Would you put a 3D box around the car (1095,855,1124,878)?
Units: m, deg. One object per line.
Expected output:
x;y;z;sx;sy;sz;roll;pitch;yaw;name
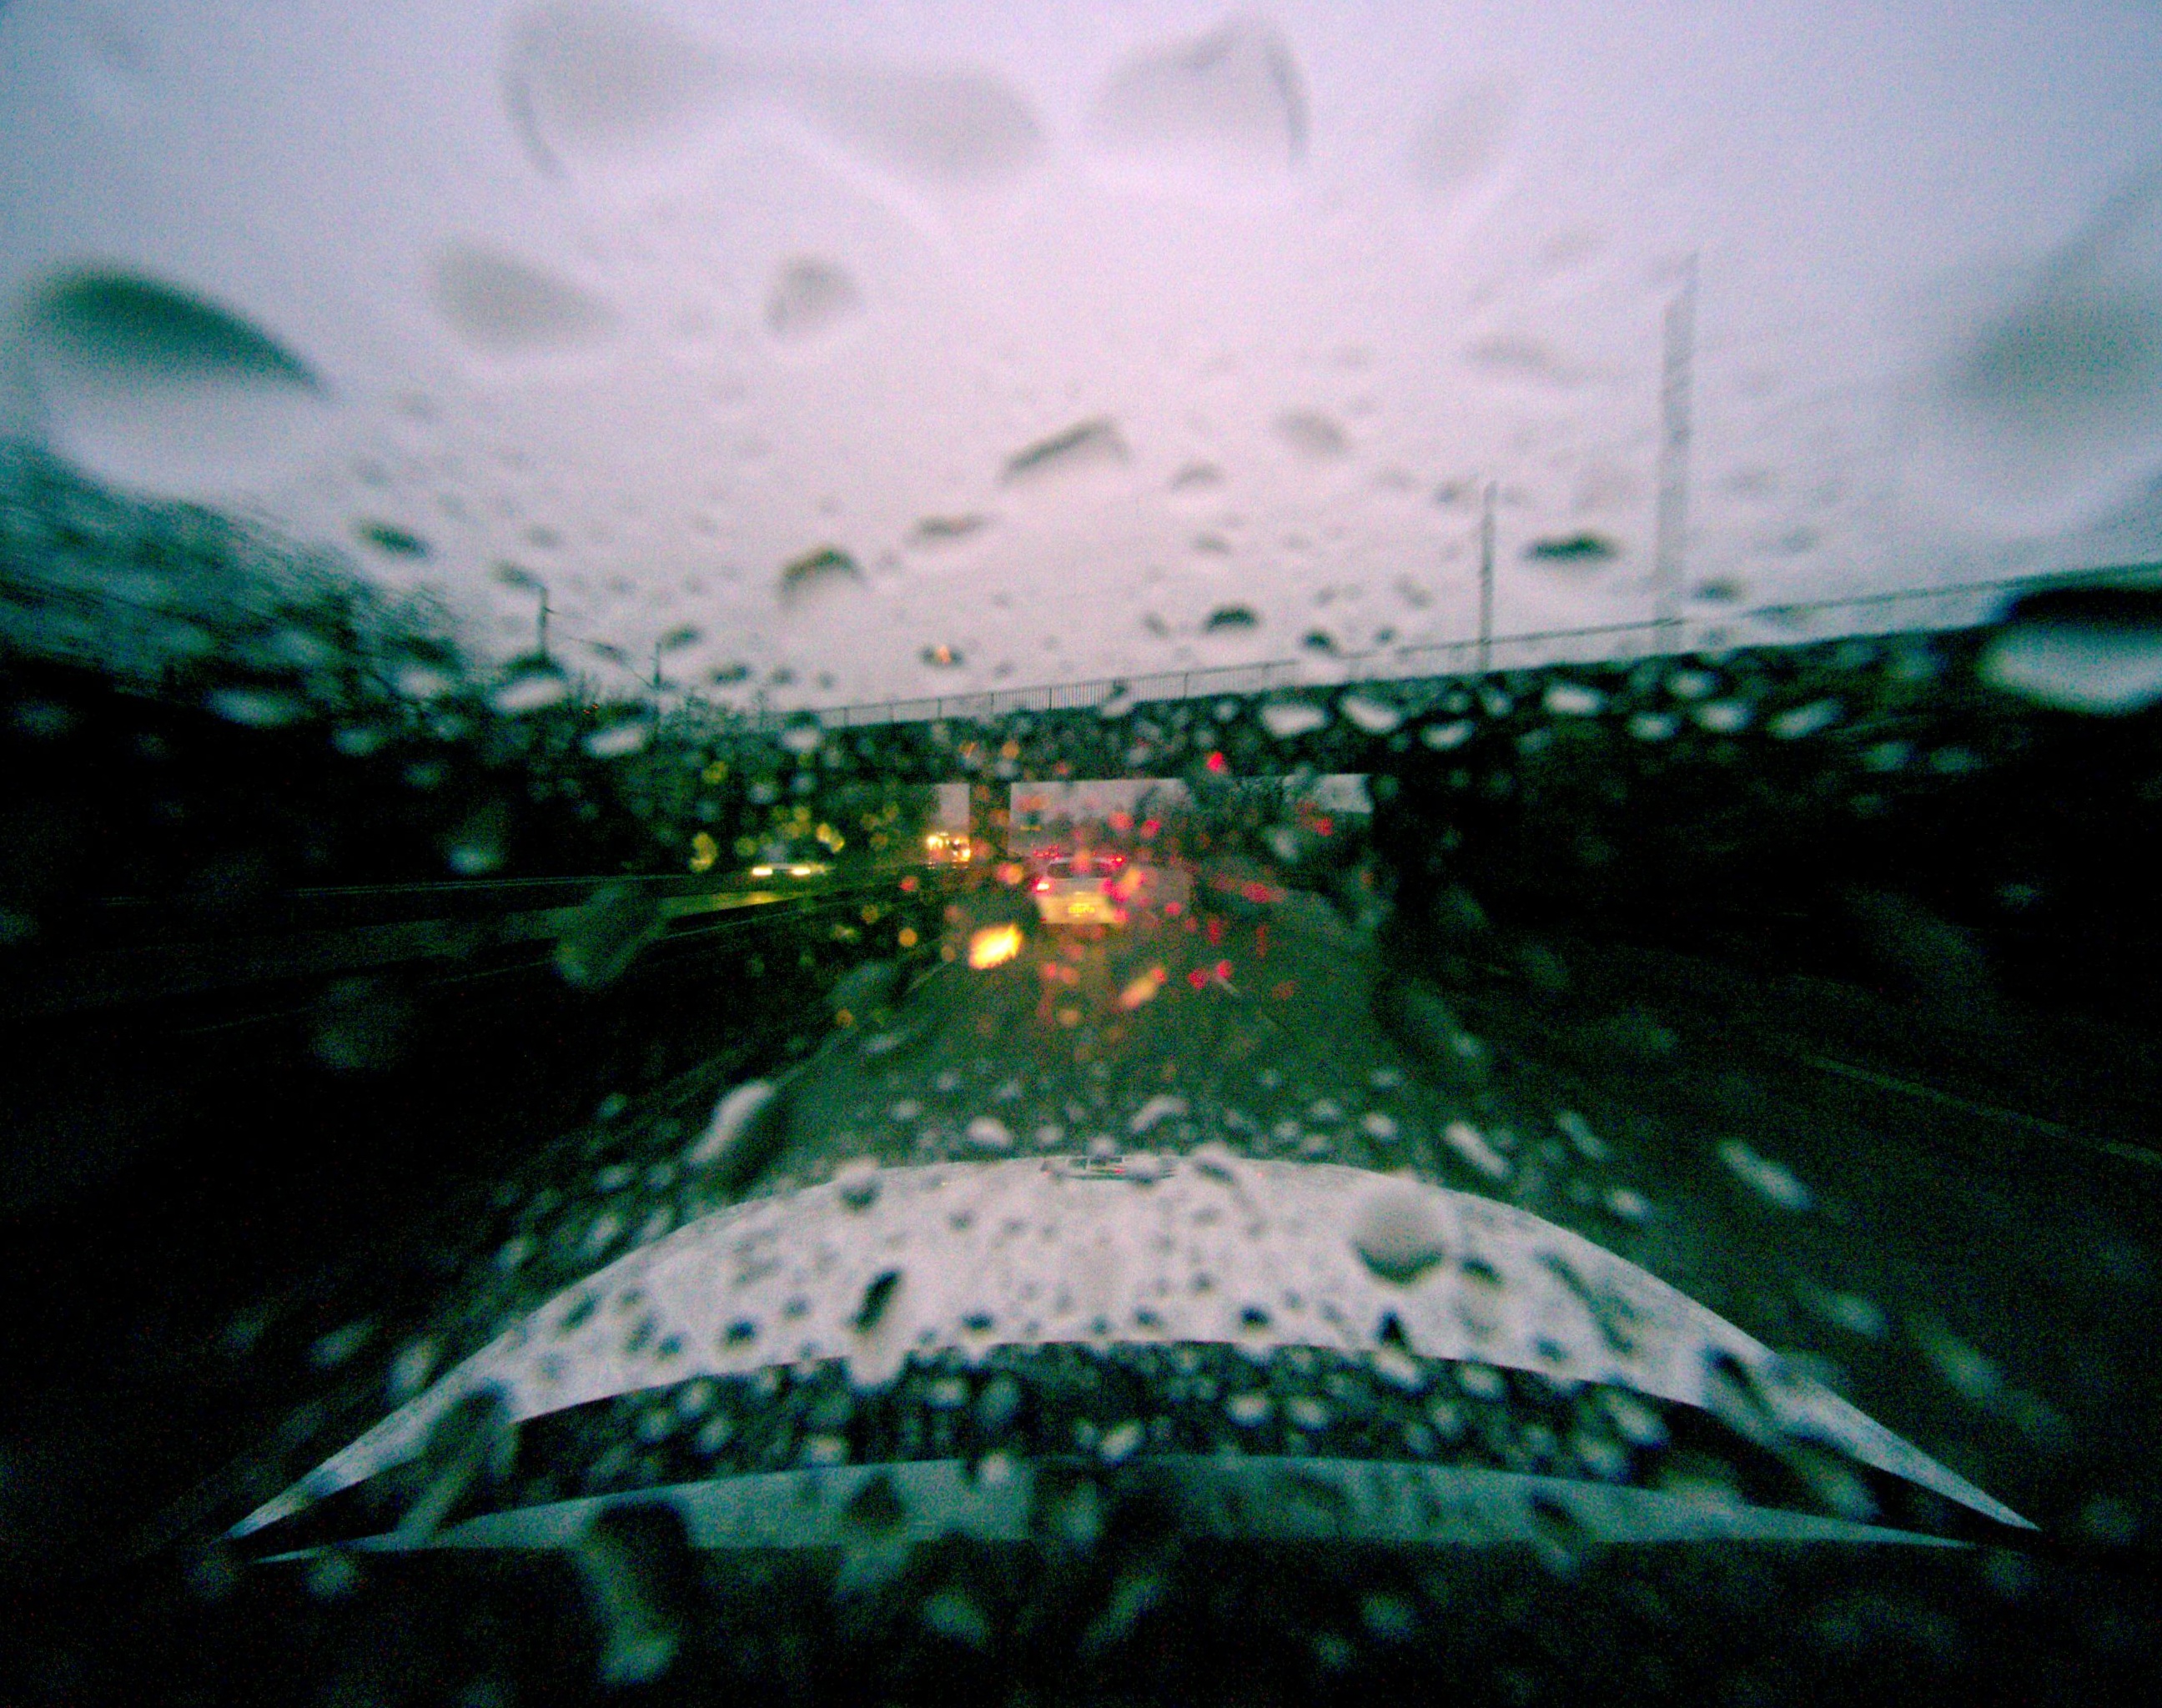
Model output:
2.314;1.060;66.425;1.929;1.546;3.767;-4;-3;-4;car

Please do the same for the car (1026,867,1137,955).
0.108;1.097;17.073;2.016;1.575;4.002;1;-1;3;car

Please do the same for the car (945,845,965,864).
-17.396;0.066;112.886;2.141;2.468;5.134;2;-1;-4;car

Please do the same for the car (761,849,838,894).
-11.265;0.671;32.848;1.577;1.670;4.295;0;0;0;car

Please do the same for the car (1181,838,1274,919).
3.955;0.663;22.626;1.926;2.019;3.773;1;-1;1;car

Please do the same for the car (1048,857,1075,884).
-1.504;1.269;64.079;1.988;2.014;3.998;1;-1;-1;car
